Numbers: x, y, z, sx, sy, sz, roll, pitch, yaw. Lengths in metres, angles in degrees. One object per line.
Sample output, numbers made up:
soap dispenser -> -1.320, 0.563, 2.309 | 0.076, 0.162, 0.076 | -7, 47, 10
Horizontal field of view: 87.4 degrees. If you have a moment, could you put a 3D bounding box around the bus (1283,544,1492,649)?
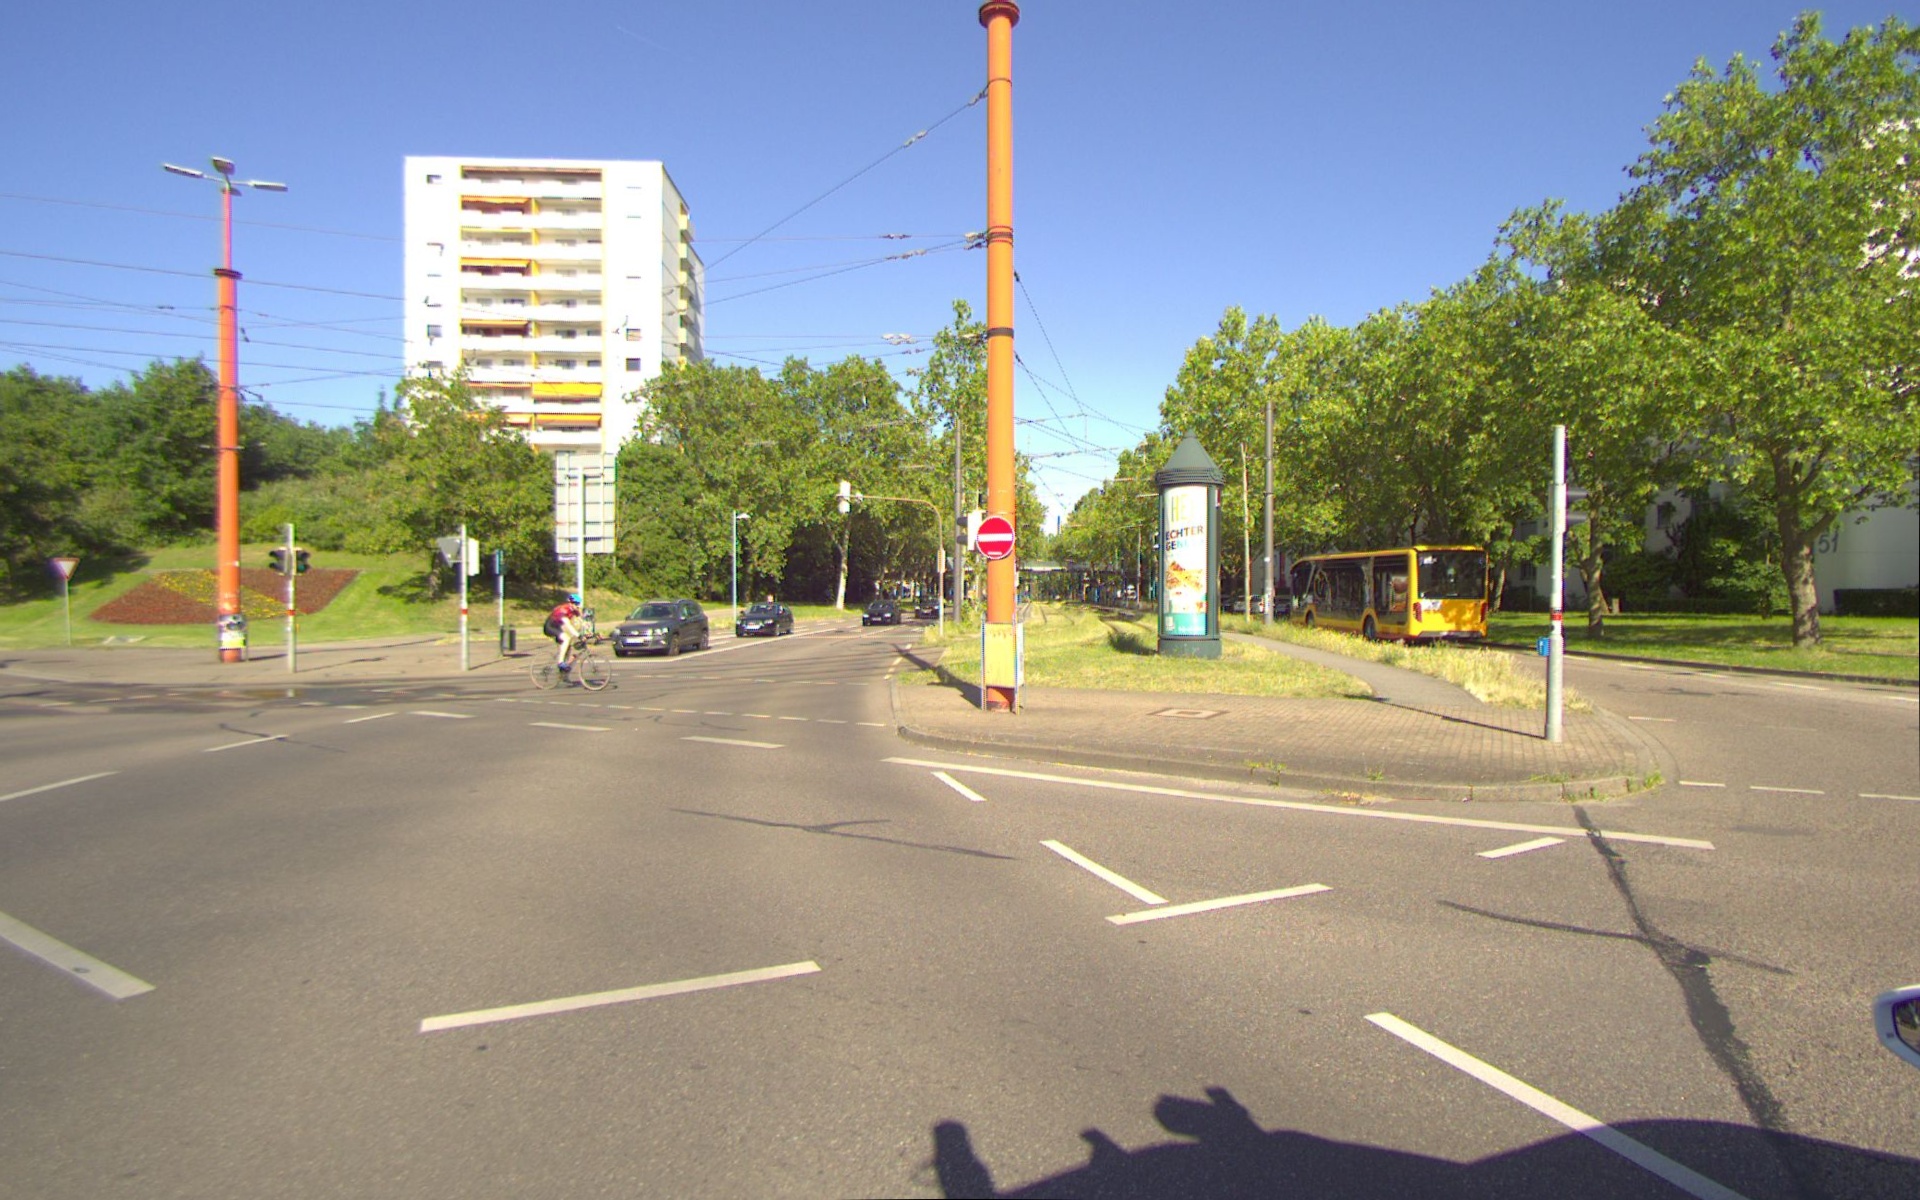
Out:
bus -> 15.487, -0.274, 37.912 | 2.602, 3.305, 12.534 | 0, 1, 0

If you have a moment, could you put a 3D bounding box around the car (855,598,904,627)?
car -> -4.553, 0.694, 57.284 | 1.879, 1.516, 4.002 | 0, 2, 10

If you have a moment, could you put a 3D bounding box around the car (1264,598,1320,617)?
car -> 22.424, 0.485, 67.907 | 1.298, 1.162, 3.361 | -2, 2, -42

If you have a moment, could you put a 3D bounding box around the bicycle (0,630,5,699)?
bicycle -> -16.311, 1.082, 15.880 | 0.726, 1.146, 1.914 | 0, 0, -5

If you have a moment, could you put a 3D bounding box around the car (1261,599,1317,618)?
car -> 21.420, 0.546, 65.461 | 1.350, 1.173, 3.236 | -2, 2, -41

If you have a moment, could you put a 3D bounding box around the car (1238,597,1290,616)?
car -> 23.548, 0.496, 77.938 | 1.484, 1.349, 3.693 | -1, 2, -37

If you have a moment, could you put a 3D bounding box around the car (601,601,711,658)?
car -> -9.154, 0.847, 30.598 | 1.880, 1.516, 4.046 | 0, 2, 4

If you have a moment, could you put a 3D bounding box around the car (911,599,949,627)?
car -> -2.131, 0.881, 71.992 | 1.821, 1.825, 4.001 | 0, 2, 12

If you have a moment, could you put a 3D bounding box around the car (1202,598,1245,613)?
car -> 22.726, 0.499, 86.621 | 3.365, 1.204, 1.441 | 1, 2, 38

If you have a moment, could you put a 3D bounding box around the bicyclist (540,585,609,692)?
bicyclist -> -7.176, 0.694, 18.724 | 0.971, 1.939, 0.687 | 0, 2, 17

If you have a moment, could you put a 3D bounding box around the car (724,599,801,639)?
car -> -8.261, 0.767, 42.354 | 1.879, 1.516, 4.002 | 0, 2, 9

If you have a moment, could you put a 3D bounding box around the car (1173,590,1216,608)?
car -> 26.065, -0.099, 111.796 | 4.278, 2.010, 1.930 | 0, 0, 41

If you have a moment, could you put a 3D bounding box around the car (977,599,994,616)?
car -> 2.867, 0.816, 113.611 | 1.822, 1.825, 4.000 | 0, 2, 1

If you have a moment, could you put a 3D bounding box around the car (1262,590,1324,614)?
car -> 23.295, 0.109, 70.375 | 1.643, 1.614, 3.899 | -1, 2, -37

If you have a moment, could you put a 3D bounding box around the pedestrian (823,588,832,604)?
pedestrian -> -13.508, -0.433, 102.425 | 0.673, 1.577, 0.992 | 0, -2, 13

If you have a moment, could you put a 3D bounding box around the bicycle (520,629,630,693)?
bicycle -> -7.180, 1.124, 18.741 | 1.877, 1.086, 0.692 | 0, 2, 16

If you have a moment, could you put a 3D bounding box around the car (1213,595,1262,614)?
car -> 22.814, 0.344, 82.707 | 3.595, 1.480, 1.607 | 1, 2, 41
